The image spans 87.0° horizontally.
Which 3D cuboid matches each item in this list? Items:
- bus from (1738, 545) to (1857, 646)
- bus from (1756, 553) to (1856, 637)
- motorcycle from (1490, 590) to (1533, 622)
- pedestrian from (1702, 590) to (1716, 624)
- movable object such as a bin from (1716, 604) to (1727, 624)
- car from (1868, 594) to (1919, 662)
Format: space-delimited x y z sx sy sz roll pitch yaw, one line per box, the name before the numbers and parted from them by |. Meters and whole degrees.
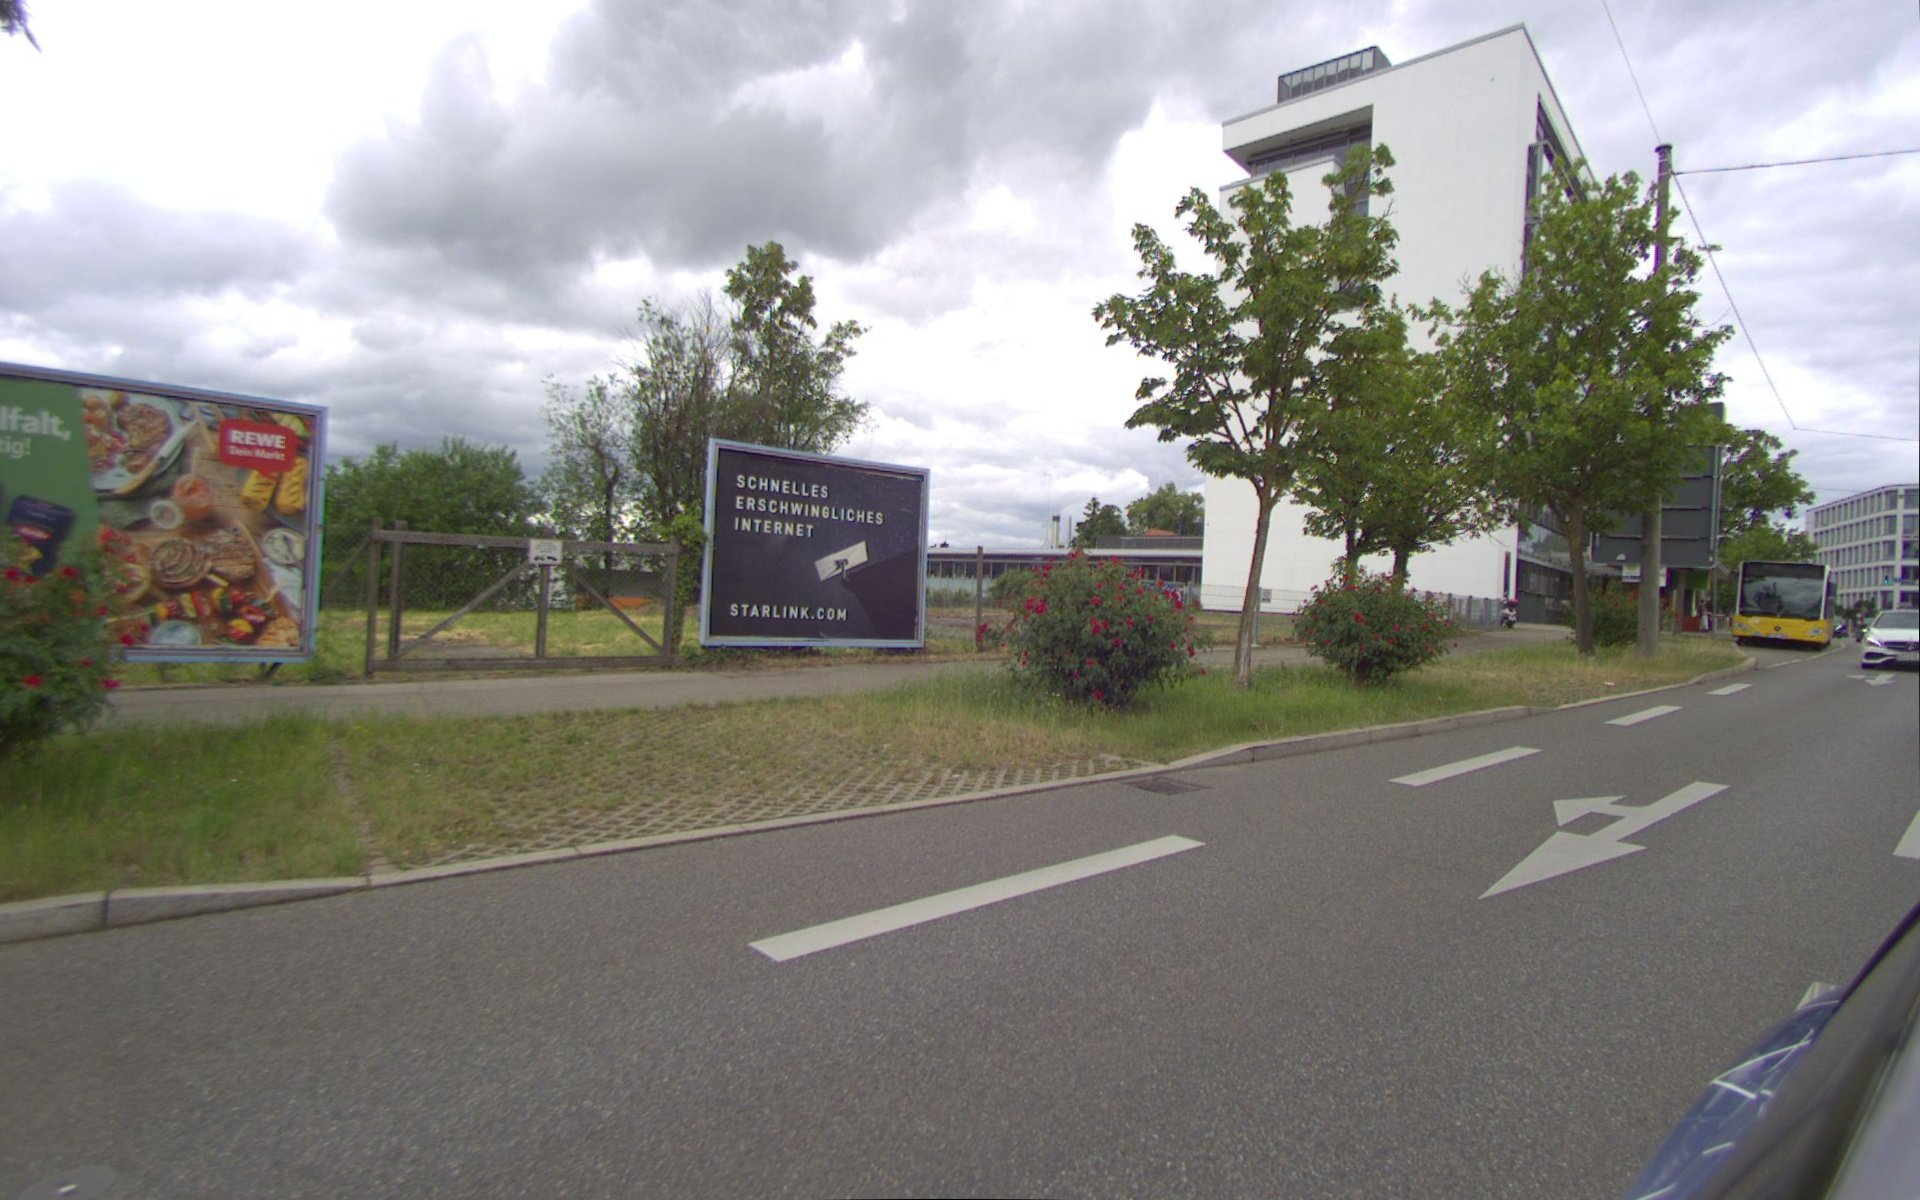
bus | 31.189 -0.209 37.569 2.980 3.281 9.717 2 1 41
bus | 37.352 -0.224 44.628 3.034 3.276 9.198 3 2 41
motorcycle | 20.747 0.216 38.123 0.811 1.129 1.738 2 1 8
pedestrian | 38.757 0.365 52.350 0.508 1.757 0.564 2 0 41
movable object such as a bin | 39.491 0.736 52.486 0.419 1.042 0.525 2 0 41
car | 23.285 0.661 24.507 1.866 1.524 4.701 0 0 41
